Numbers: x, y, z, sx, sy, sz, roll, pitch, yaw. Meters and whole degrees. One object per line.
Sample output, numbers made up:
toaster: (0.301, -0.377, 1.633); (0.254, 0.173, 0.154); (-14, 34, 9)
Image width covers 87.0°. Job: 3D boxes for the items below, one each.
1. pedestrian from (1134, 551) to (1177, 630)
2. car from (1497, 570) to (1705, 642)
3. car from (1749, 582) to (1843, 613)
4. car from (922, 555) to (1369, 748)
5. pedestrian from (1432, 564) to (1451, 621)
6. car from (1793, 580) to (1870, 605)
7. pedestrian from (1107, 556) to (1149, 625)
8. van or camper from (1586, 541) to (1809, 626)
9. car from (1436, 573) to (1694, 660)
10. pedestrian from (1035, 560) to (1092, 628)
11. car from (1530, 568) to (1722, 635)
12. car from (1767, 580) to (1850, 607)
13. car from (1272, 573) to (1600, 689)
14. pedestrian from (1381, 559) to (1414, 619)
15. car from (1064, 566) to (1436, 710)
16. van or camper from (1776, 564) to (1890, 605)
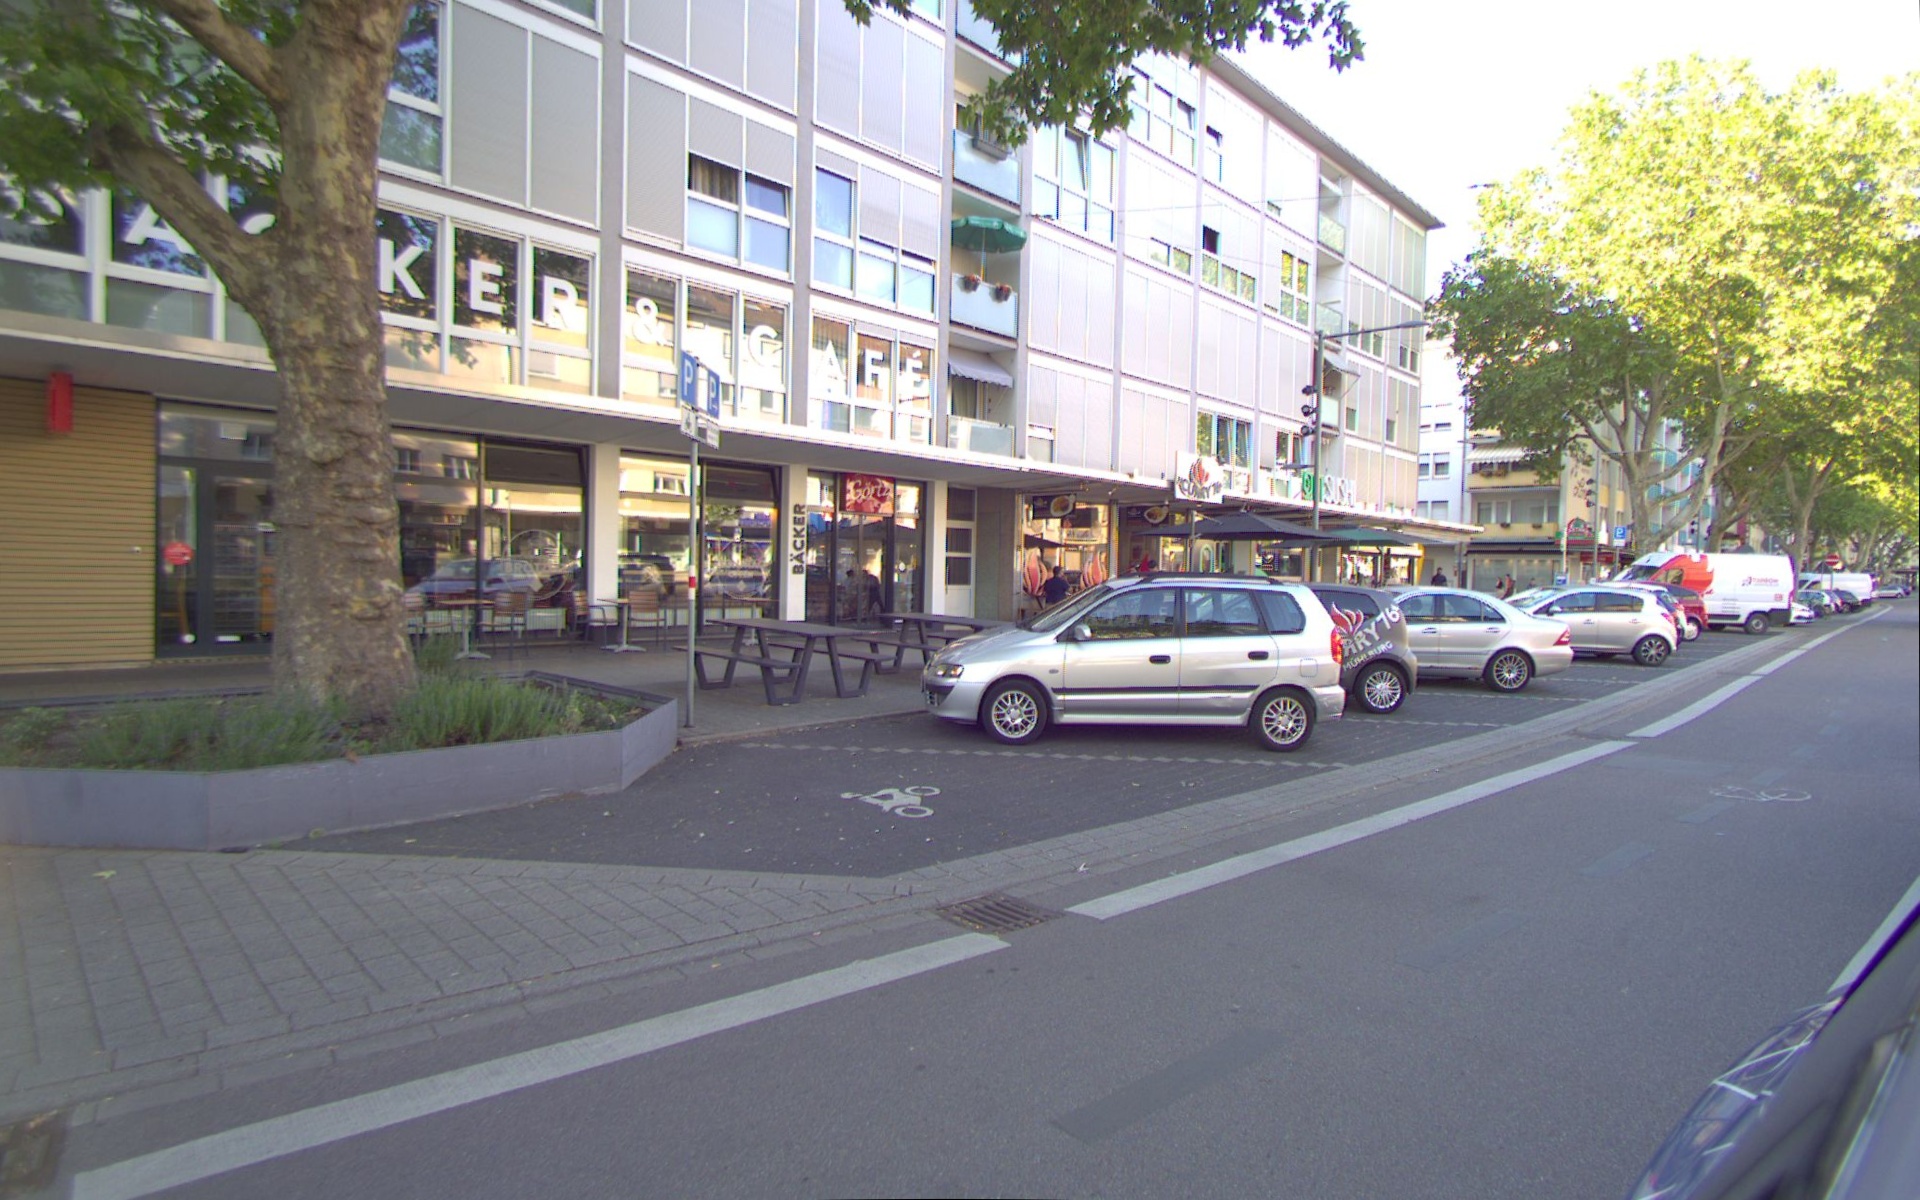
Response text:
pedestrian: (4.113, -0.200, 21.289); (0.537, 1.610, 0.676); (5, 4, 44)
car: (15.741, 0.110, 25.020); (3.929, 1.541, 1.659); (2, 3, 5)
car: (41.867, -0.146, 50.739); (3.271, 1.363, 1.530); (2, 3, 5)
car: (1.626, 0.431, 9.887); (3.921, 1.626, 1.811); (1, 2, -3)
pedestrian: (17.322, -0.262, 36.415); (0.547, 2.039, 0.571); (0, 0, 31)
car: (53.818, -0.470, 62.536); (3.271, 1.363, 1.530); (2, 3, 5)
pedestrian: (3.592, -0.213, 21.600); (0.537, 1.417, 0.676); (5, 4, 44)
van or camper: (23.317, -0.544, 32.195); (5.366, 2.499, 1.998); (1, 2, 5)
car: (11.735, 0.286, 19.862); (3.929, 1.453, 1.659); (2, 3, 5)
pedestrian: (2.190, -0.135, 21.429); (0.945, 1.379, 0.750); (0, 2, -41)
car: (17.886, 0.016, 27.344); (3.929, 1.582, 1.659); (2, 3, 5)
car: (48.444, -0.397, 57.853); (3.271, 1.363, 1.530); (2, 3, 5)
car: (6.814, 0.404, 14.813); (3.926, 1.453, 1.660); (2, 3, 2)
pedestrian: (12.096, -0.304, 27.993); (0.537, 1.610, 0.676); (5, 4, 44)
car: (3.382, 0.408, 12.344); (3.921, 1.525, 1.811); (1, 2, -3)
van or camper: (56.111, -1.032, 65.147); (5.363, 2.499, 1.999); (1, 2, 3)
